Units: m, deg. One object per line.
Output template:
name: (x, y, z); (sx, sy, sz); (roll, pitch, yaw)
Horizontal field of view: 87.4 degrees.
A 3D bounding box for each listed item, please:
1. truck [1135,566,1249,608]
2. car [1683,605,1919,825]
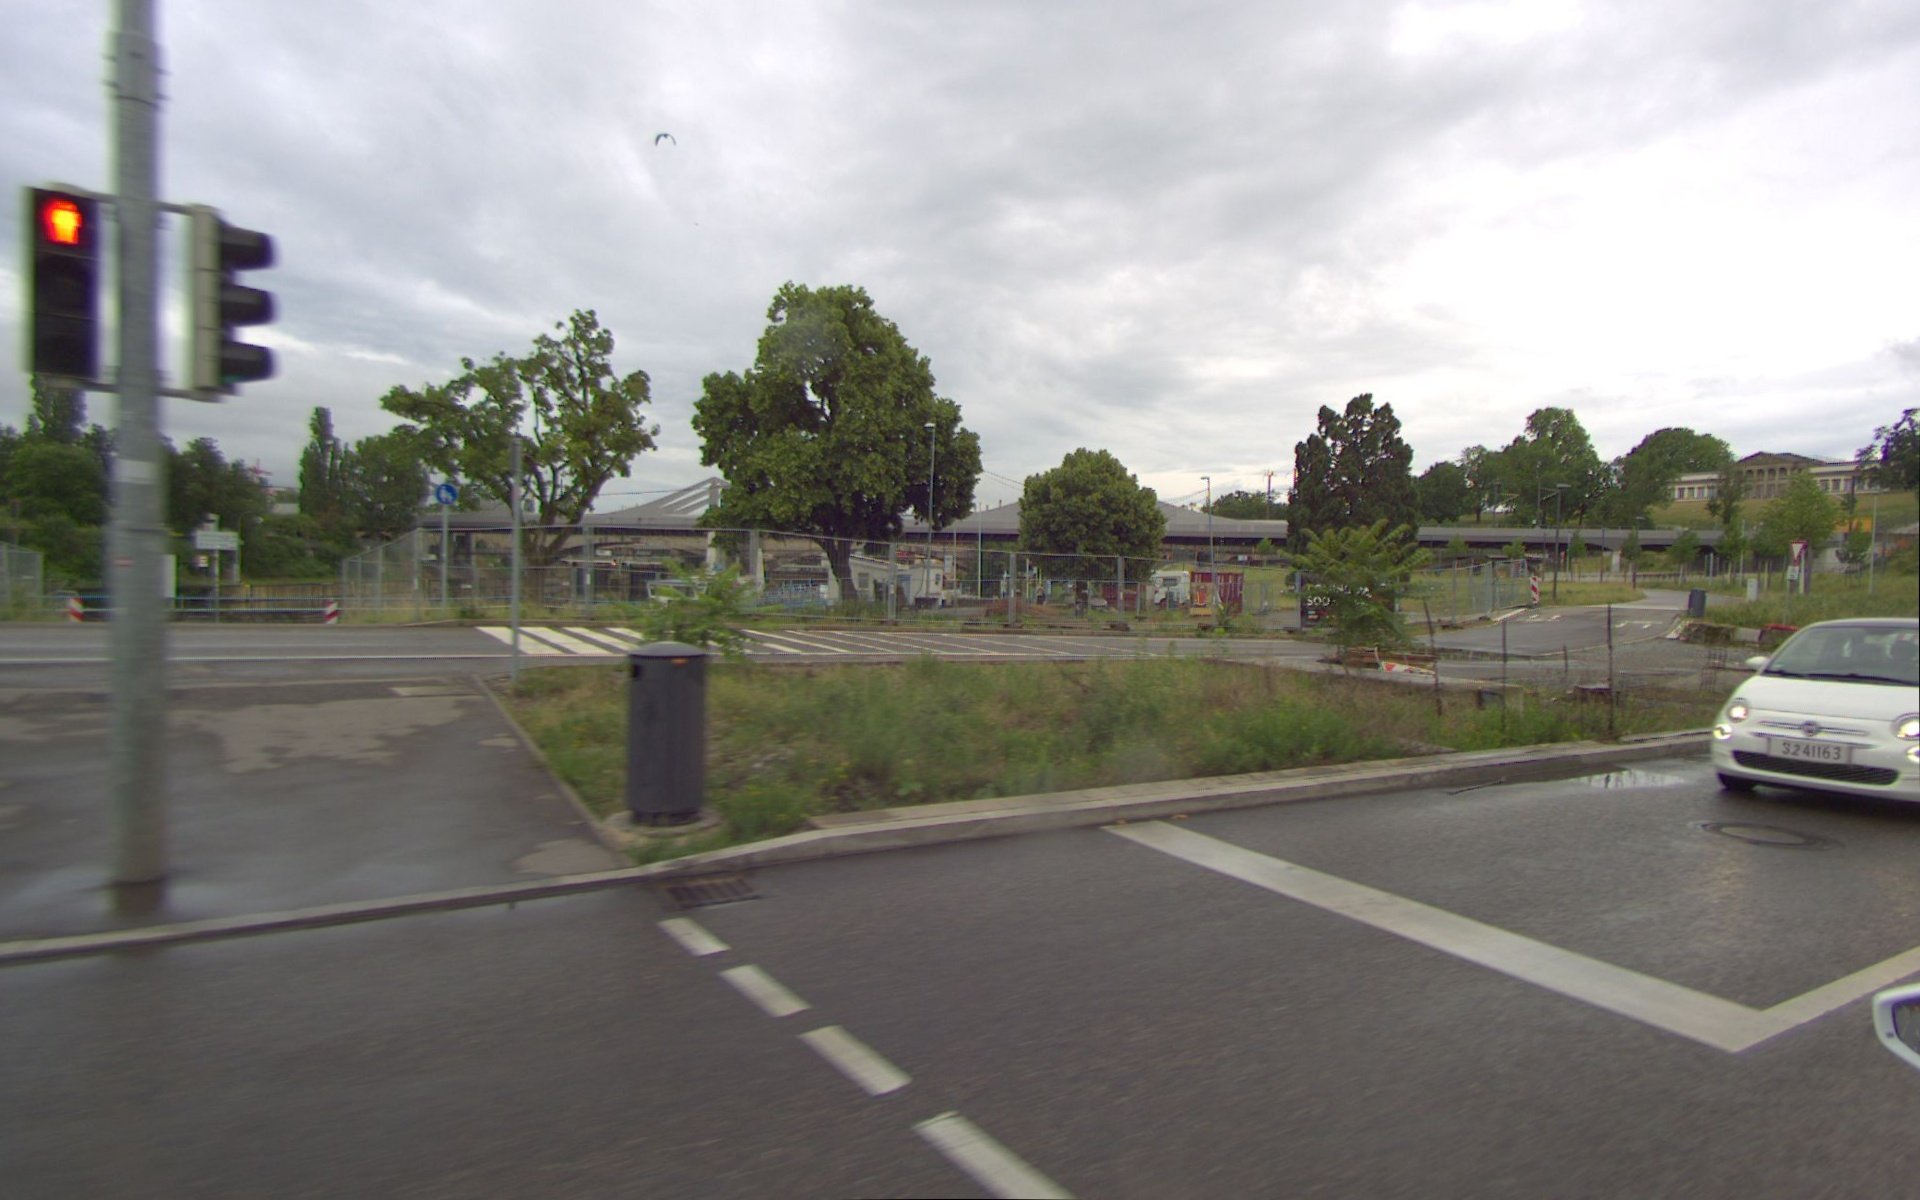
truck: (17.140, -1.013, 74.290); (7.808, 2.840, 2.422); (2, 2, 23)
car: (7.948, 0.838, 8.544); (3.671, 1.511, 1.579); (1, 0, -31)
